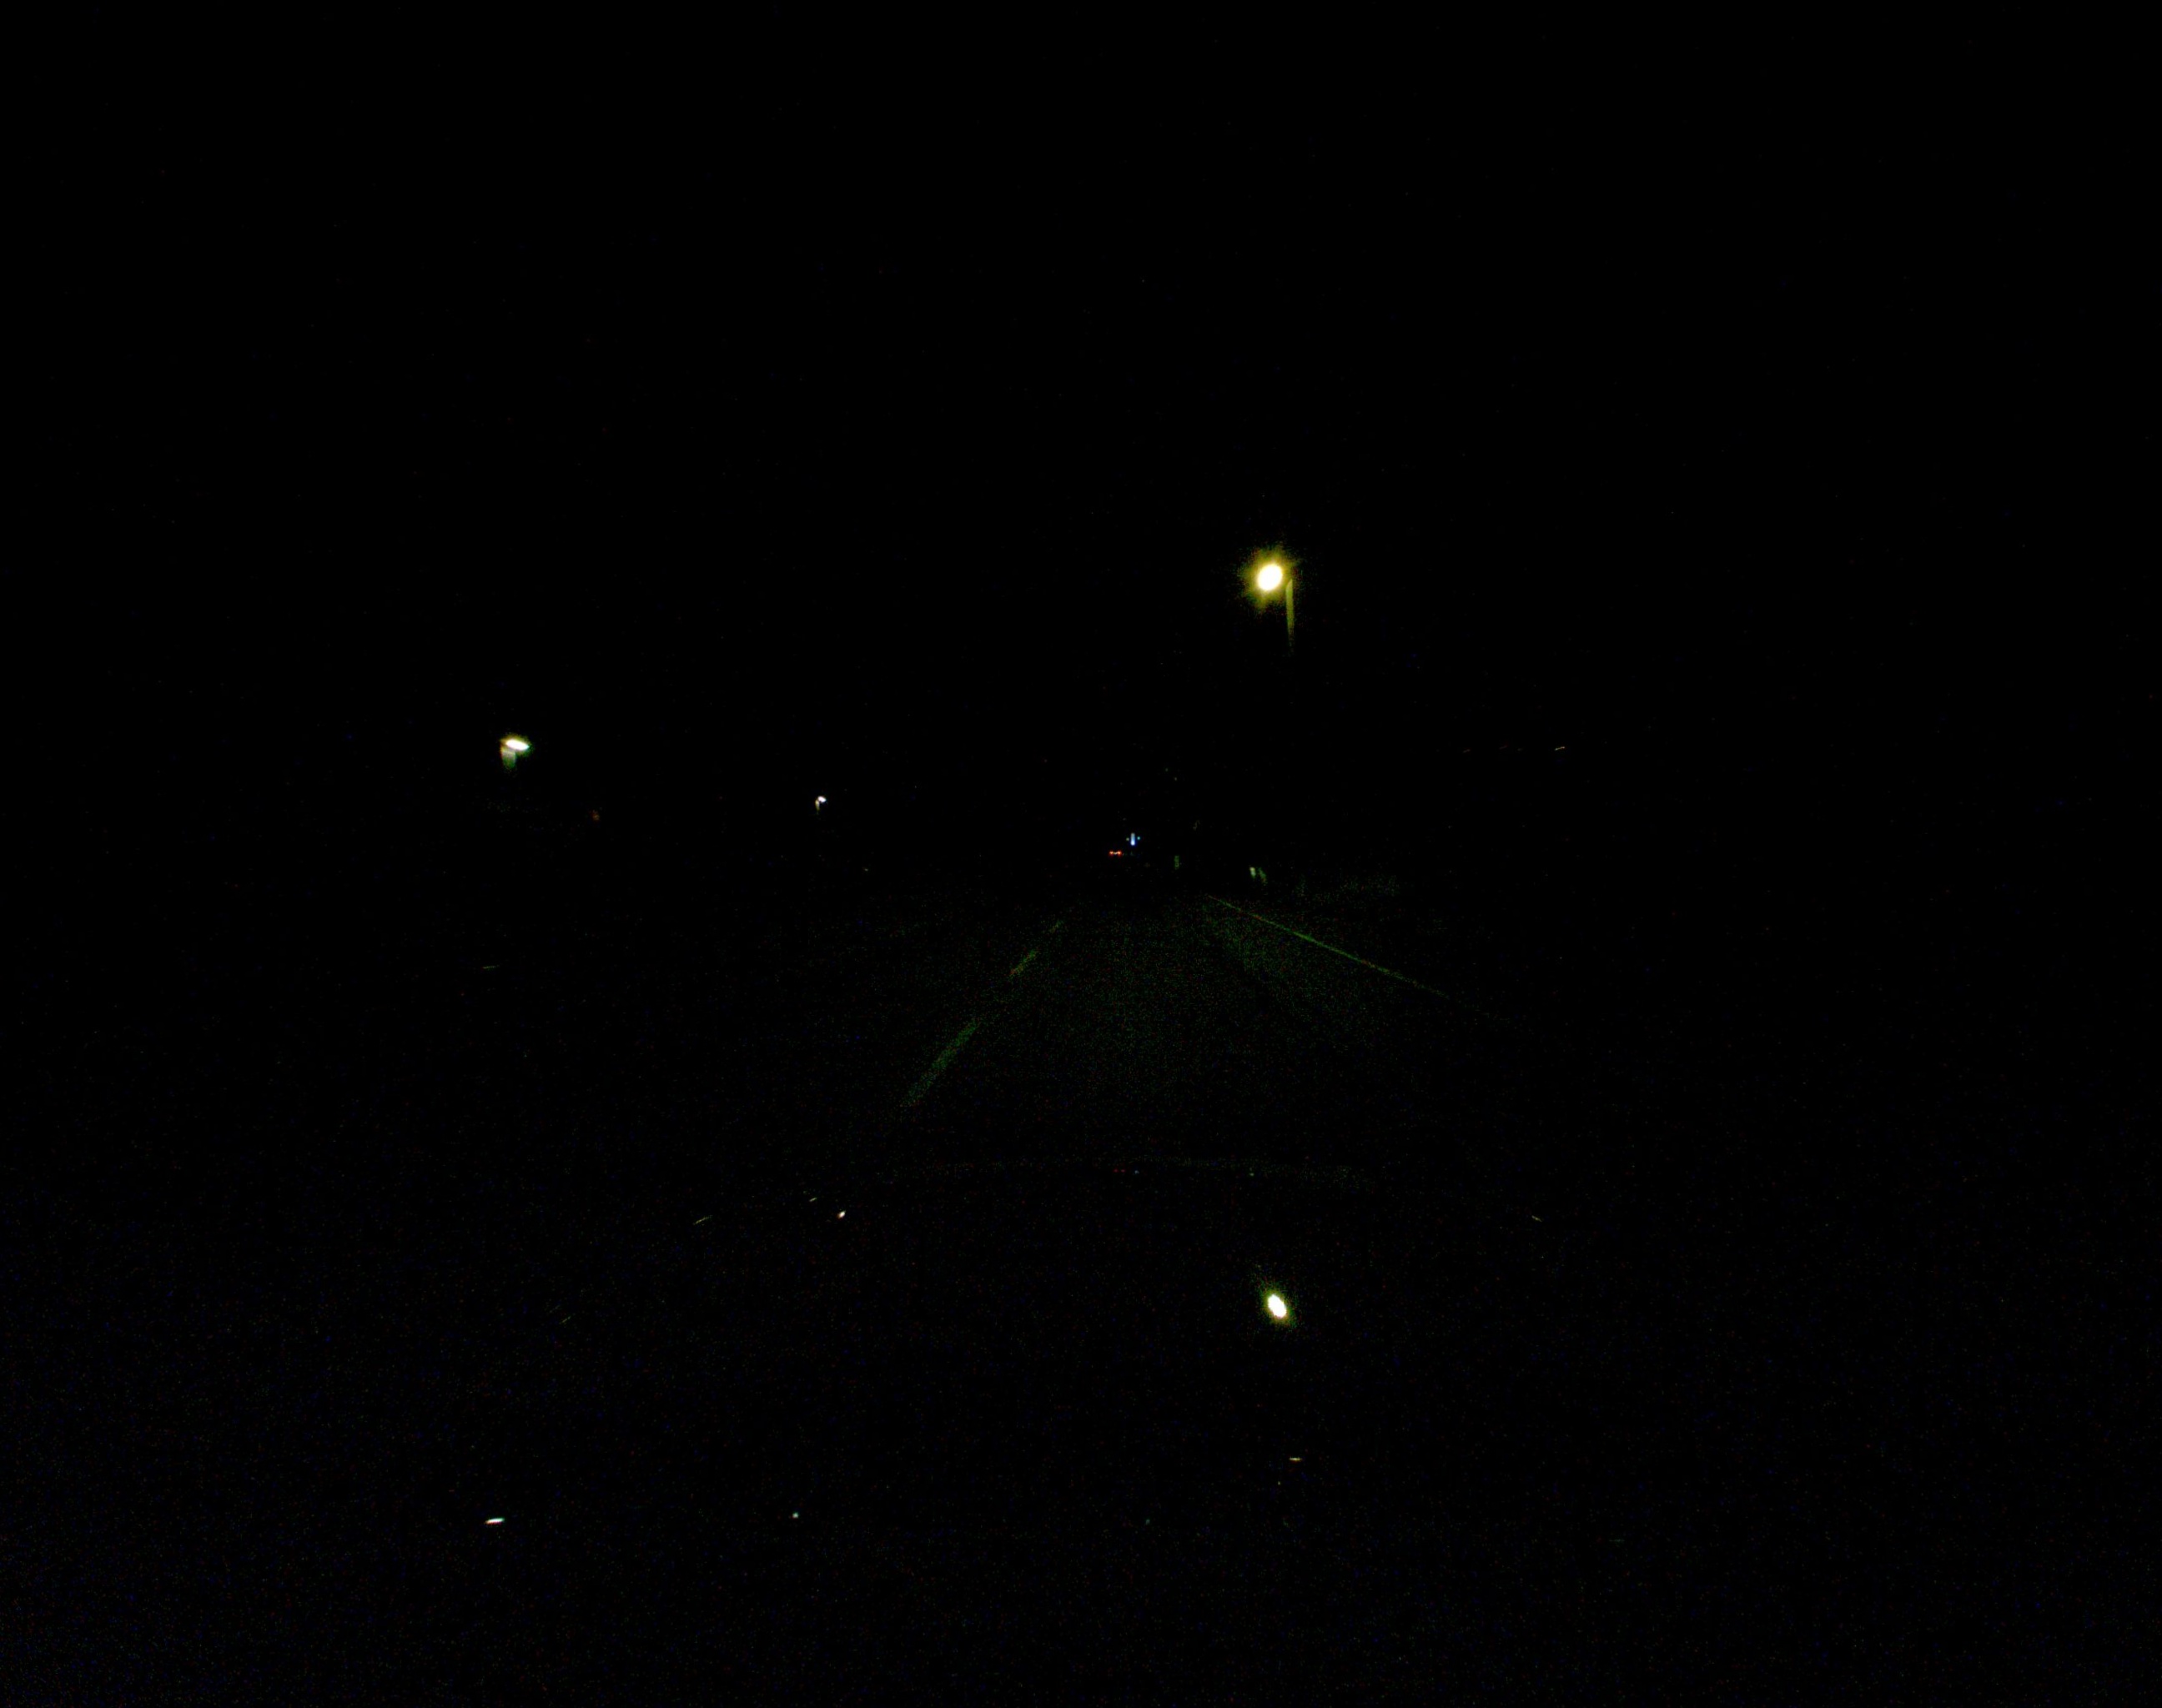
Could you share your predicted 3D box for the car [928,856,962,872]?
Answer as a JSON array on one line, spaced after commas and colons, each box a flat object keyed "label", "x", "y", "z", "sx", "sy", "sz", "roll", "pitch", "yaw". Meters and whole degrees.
[{"label": "car", "x": -12.585, "y": 0.918, "z": 75.650, "sx": 1.986, "sy": 1.338, "sz": 5.433, "roll": -2, "pitch": 0, "yaw": 1}]

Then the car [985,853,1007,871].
[{"label": "car", "x": -11.092, "y": 1.016, "z": 106.306, "sx": 2.084, "sy": 2.013, "sz": 4.001, "roll": -6, "pitch": 0, "yaw": 1}]

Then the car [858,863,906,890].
[{"label": "car", "x": -13.542, "y": 1.503, "z": 55.664, "sx": 1.986, "sy": 1.628, "sz": 4.678, "roll": -2, "pitch": 0, "yaw": 1}]

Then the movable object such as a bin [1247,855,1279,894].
[{"label": "movable object such as a bin", "x": 5.719, "y": 0.637, "z": 25.609, "sx": 0.829, "sy": 1.181, "sz": 0.829, "roll": -2, "pitch": 0, "yaw": 4}]

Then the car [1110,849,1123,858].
[{"label": "car", "x": 6.251, "y": -0.075, "z": 143.502, "sx": 2.153, "sy": 1.583, "sz": 4.015, "roll": -1, "pitch": -1, "yaw": 2}]

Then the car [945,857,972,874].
[{"label": "car", "x": -12.223, "y": 1.132, "z": 81.546, "sx": 1.986, "sy": 1.530, "sz": 4.001, "roll": -2, "pitch": 0, "yaw": 1}]

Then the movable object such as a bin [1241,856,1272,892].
[{"label": "movable object such as a bin", "x": 5.709, "y": 0.654, "z": 26.486, "sx": 0.853, "sy": 1.119, "sz": 0.841, "roll": -2, "pitch": 0, "yaw": 4}]
